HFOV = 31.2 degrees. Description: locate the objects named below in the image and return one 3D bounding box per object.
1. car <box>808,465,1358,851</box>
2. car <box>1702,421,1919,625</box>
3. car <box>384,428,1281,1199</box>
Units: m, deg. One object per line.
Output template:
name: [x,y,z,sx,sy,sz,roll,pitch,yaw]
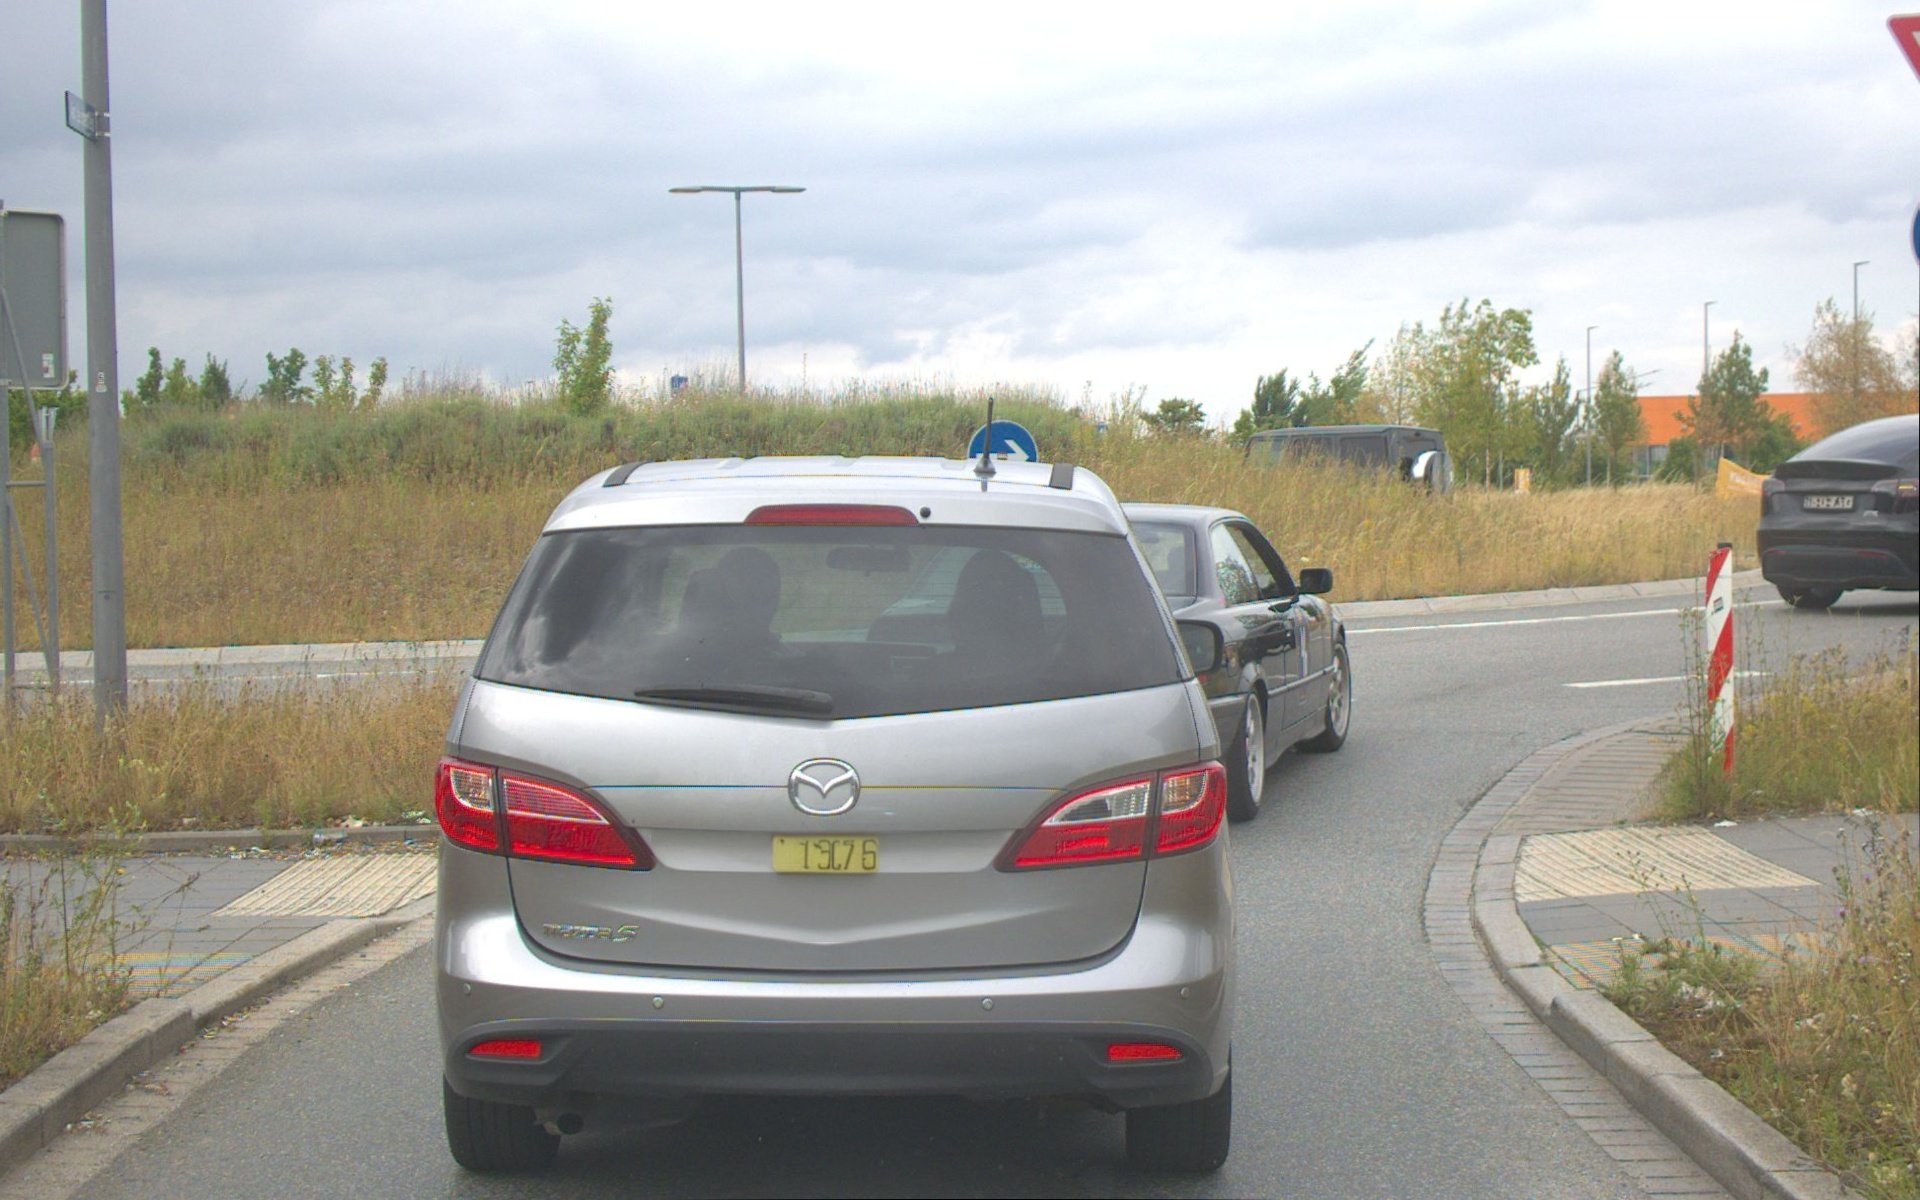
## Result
car: [0.701,0.150,15.879,1.739,1.398,3.996,1,4,14]
car: [8.480,-0.728,28.262,4.760,1.493,1.944,-4,4,-36]
car: [-0.273,0.391,8.715,1.738,1.593,3.998,1,2,-1]
